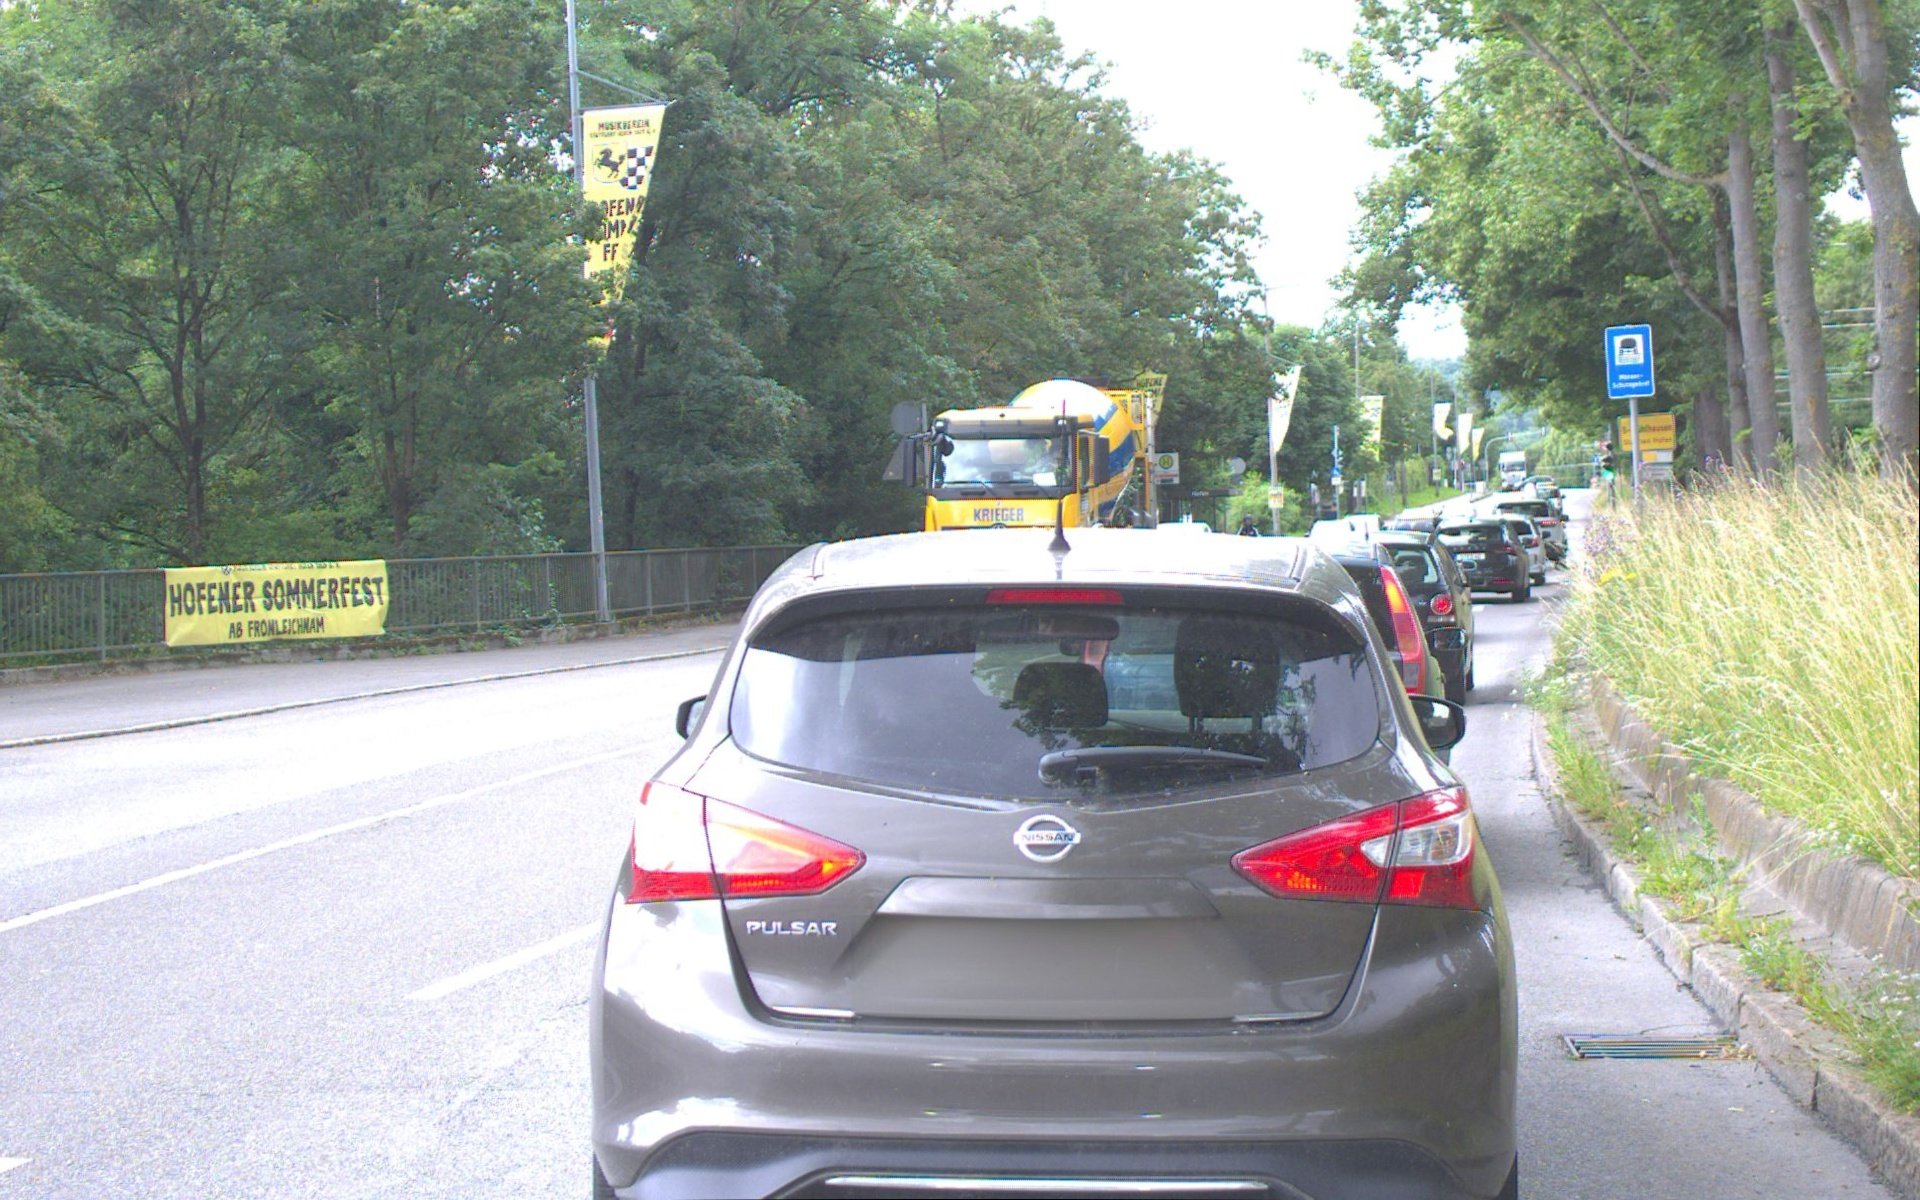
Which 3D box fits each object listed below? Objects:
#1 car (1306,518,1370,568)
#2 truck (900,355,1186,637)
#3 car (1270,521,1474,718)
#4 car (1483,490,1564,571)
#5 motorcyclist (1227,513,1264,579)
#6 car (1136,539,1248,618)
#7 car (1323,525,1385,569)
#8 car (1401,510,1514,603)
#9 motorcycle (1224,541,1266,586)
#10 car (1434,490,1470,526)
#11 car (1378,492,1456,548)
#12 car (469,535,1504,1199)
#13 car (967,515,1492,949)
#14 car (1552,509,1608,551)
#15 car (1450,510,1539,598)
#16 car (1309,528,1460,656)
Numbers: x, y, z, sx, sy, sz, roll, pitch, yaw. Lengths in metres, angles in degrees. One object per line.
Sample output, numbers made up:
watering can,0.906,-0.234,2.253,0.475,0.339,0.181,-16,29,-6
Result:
car,11.988,-1.787,108.829,1.722,1.437,3.998,-2,-1,10
truck,1.479,-1.554,53.079,2.656,3.925,10.106,0,1,11
car,3.540,0.134,29.607,1.578,1.533,3.999,-2,0,7
car,14.560,-1.806,88.709,1.892,2.007,3.998,-1,1,11
motorcyclist,6.769,-1.282,81.523,0.745,1.533,0.790,-1,1,12
car,4.592,-0.445,67.611,1.767,1.474,3.999,0,1,10
car,13.949,-1.877,121.578,1.818,1.457,3.998,-2,1,11
car,8.606,-0.745,59.271,1.805,1.535,3.998,0,0,10
motorcycle,6.767,-0.871,81.498,0.745,1.030,1.887,-1,1,12
car,26.010,-4.868,181.797,1.719,1.687,3.724,-2,-1,10
car,13.027,-2.264,97.814,1.852,1.481,4.418,-1,0,12
car,0.206,0.634,7.885,1.775,1.489,3.999,0,0,5
car,1.102,0.481,14.528,1.893,1.568,3.999,-1,0,4
car,22.041,-2.501,122.132,1.892,1.440,3.805,-1,1,11
car,11.256,-0.940,72.254,1.719,1.687,3.998,-2,-1,10
car,4.917,-0.107,39.534,1.501,1.360,3.586,-2,0,10
